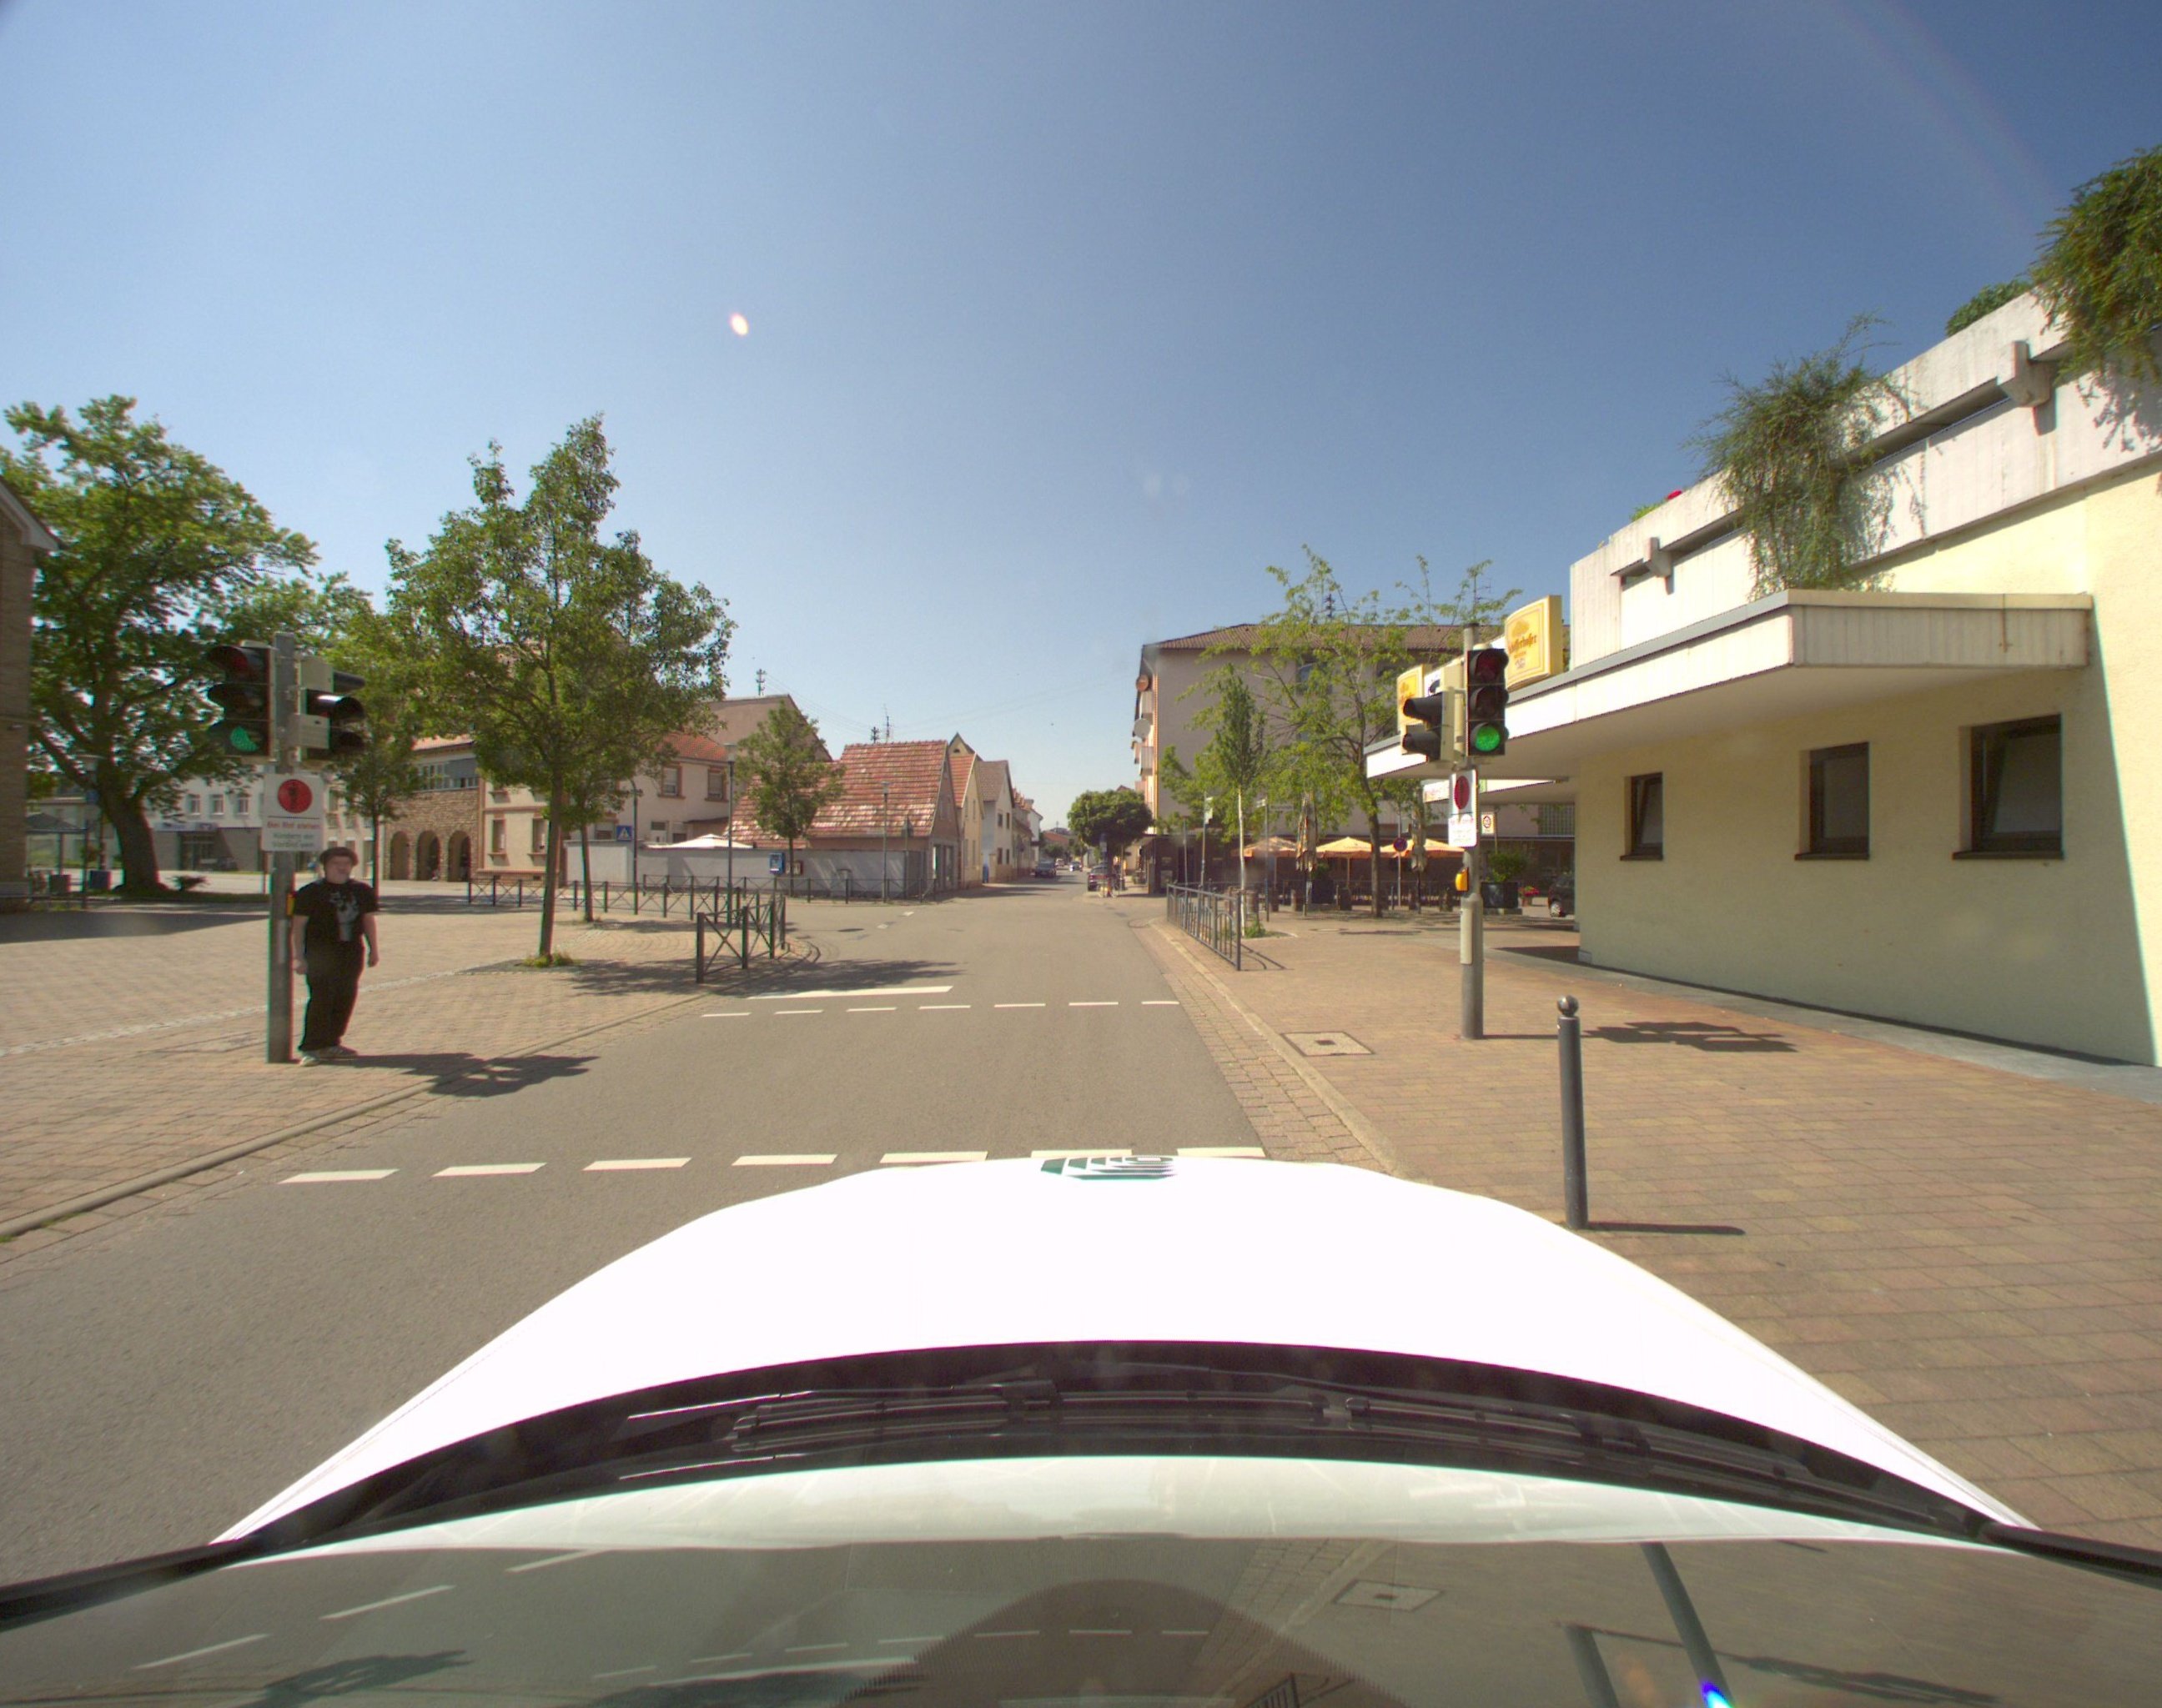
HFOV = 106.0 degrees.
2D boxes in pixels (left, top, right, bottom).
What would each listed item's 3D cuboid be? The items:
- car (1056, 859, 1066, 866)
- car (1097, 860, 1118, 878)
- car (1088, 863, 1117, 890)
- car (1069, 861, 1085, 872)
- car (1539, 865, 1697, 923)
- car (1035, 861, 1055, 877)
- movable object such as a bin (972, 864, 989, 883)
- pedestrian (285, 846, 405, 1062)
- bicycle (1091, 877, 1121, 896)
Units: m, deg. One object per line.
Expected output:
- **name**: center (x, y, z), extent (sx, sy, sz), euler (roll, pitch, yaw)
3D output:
- **car**: center (-4.299, 1.818, 174.546), extent (2.020, 1.598, 4.509), euler (0, -1, 0)
- **car**: center (2.640, 1.471, 81.078), extent (2.035, 1.689, 4.843), euler (0, -1, 2)
- **car**: center (1.283, 1.278, 47.220), extent (1.569, 1.454, 3.489), euler (0, -1, 4)
- **car**: center (-0.519, 1.708, 113.696), extent (1.905, 1.481, 4.836), euler (0, -1, -4)
- **car**: center (15.231, 1.099, 23.376), extent (1.763, 1.510, 3.965), euler (1, -1, -4)
- **car**: center (-3.460, 1.448, 78.357), extent (1.657, 1.476, 4.135), euler (0, -1, 1)
- **movable object such as a bin**: center (-7.033, 1.362, 57.007), extent (1.096, 1.366, 0.390), euler (0, -1, 5)
- **pedestrian**: center (-5.869, 0.755, 6.501), extent (0.543, 1.619, 0.561), euler (-1, -2, 35)
- **bicycle**: center (1.180, 1.543, 38.587), extent (1.396, 0.897, 0.468), euler (-2, -1, 38)
